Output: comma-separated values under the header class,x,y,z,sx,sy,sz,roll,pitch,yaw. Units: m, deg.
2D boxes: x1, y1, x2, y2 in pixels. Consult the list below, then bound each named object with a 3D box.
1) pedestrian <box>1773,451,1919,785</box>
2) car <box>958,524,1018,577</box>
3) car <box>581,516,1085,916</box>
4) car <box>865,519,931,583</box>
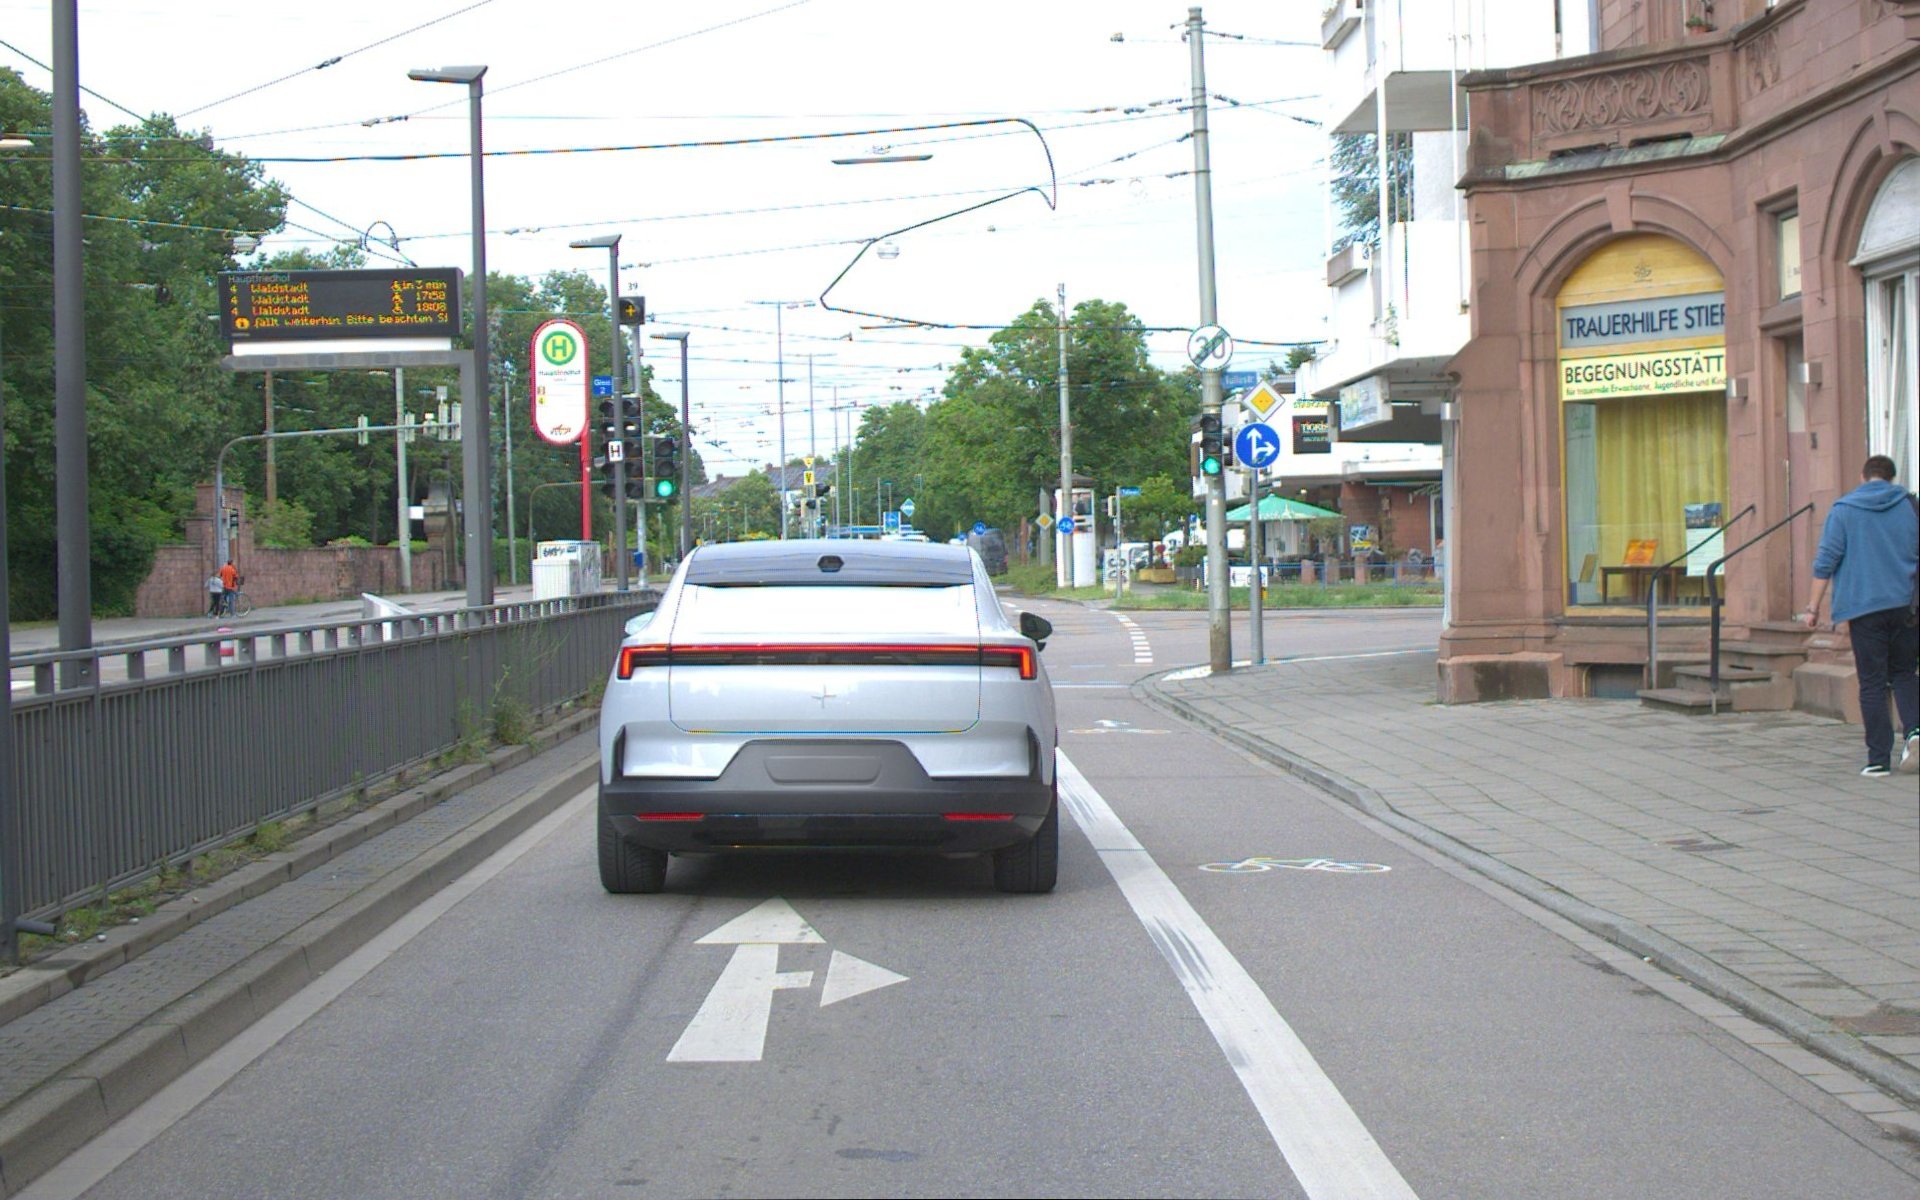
class,x,y,z,sx,sy,sz,roll,pitch,yaw
pedestrian,5.317,0.079,19.748,0.961,1.843,0.975,-3,1,0
car,1.343,-2.359,166.474,2.807,2.496,5.722,0,0,-1
car,-0.676,0.453,15.626,1.999,1.575,4.001,0,0,-5
car,-2.394,-1.840,131.557,2.225,2.394,5.124,0,0,-4
